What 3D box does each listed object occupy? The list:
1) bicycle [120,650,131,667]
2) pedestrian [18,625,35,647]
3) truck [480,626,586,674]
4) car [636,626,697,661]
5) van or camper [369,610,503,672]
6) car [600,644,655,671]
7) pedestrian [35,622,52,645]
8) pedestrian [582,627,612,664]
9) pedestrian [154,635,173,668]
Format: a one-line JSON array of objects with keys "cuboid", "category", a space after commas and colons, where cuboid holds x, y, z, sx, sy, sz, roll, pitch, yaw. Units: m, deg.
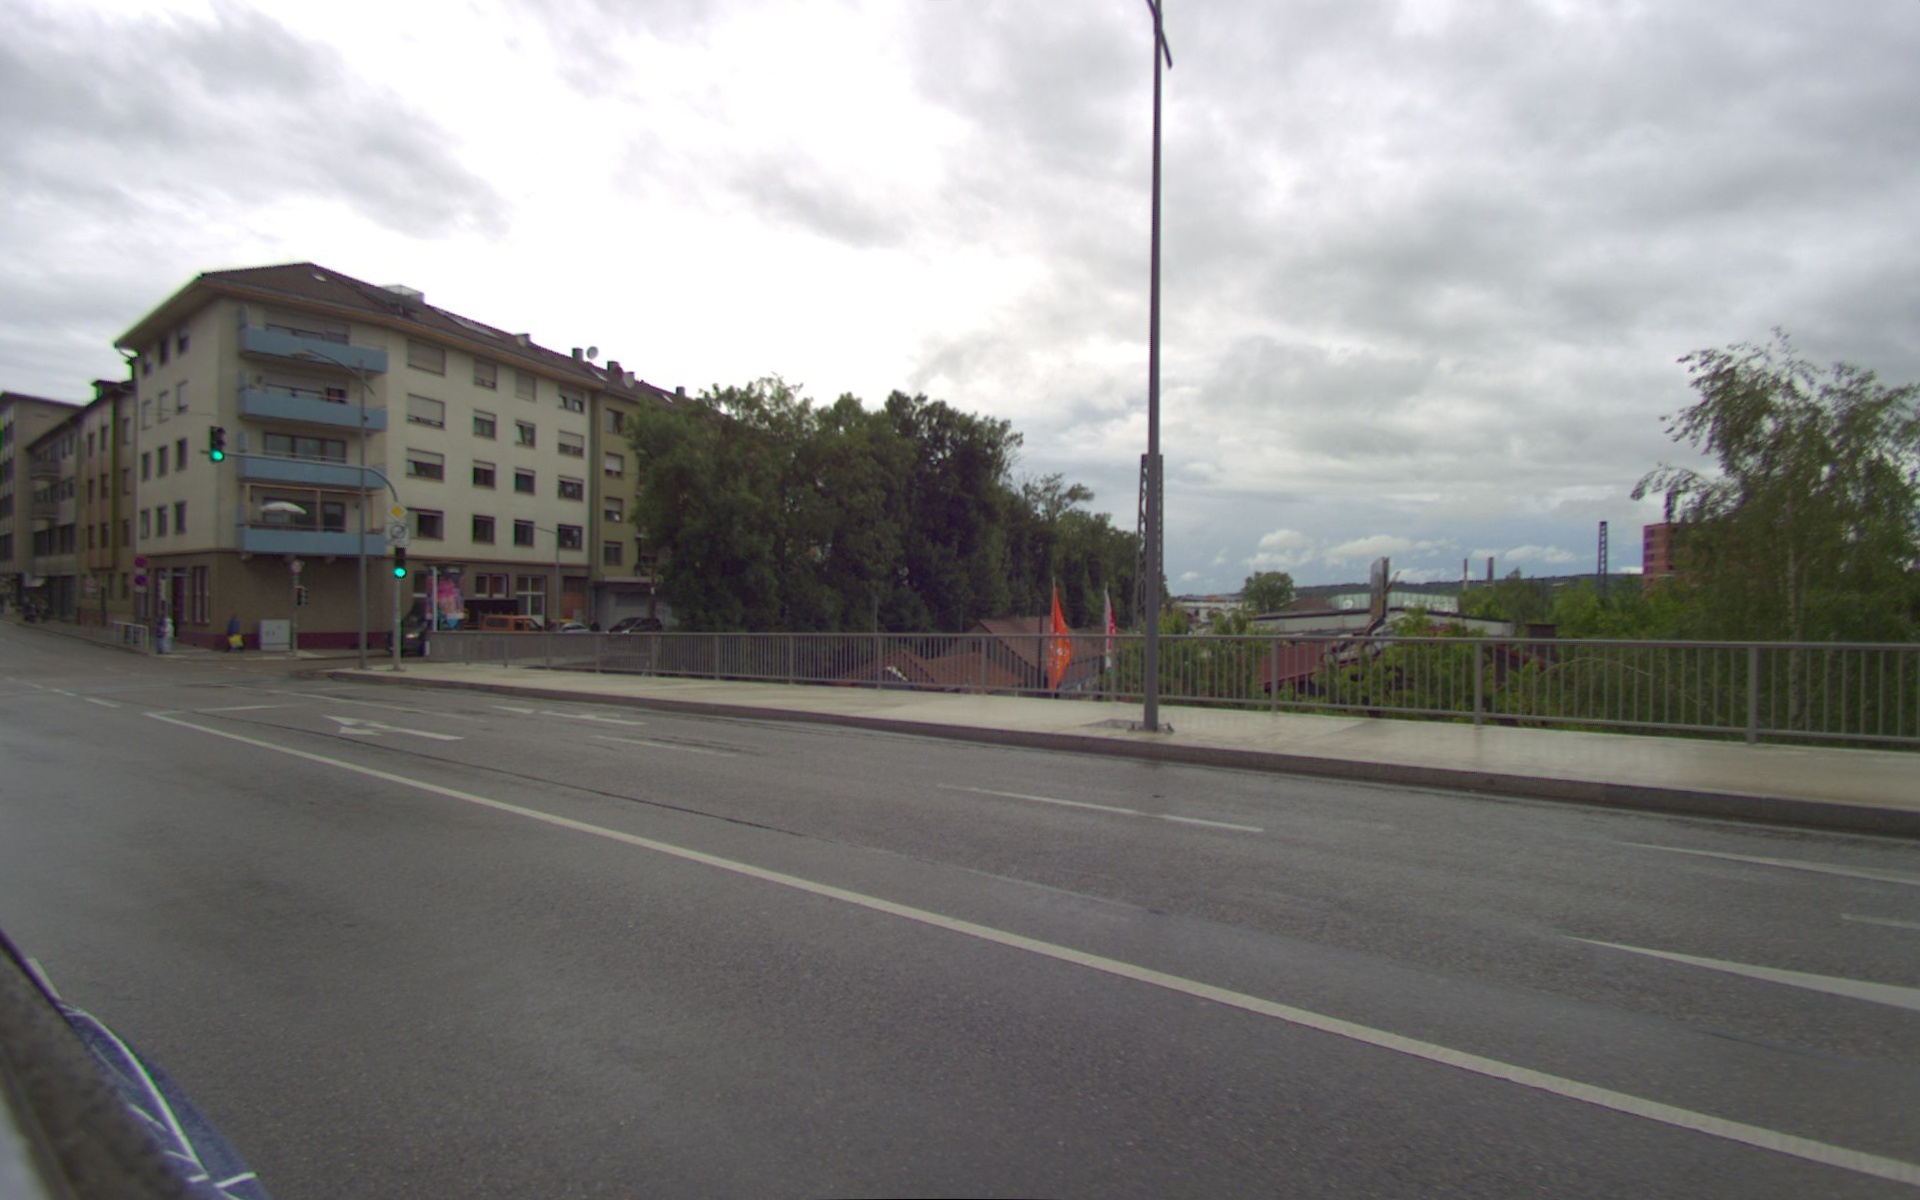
[{"cuboid": [-40.986, 2.884, 49.712, 1.110, 0.789, 0.261, 0, 0, 41], "category": "bicycle"}, {"cuboid": [-65.687, 2.538, 71.192, 0.711, 1.546, 0.791, 0, 0, 41], "category": "pedestrian"}, {"cuboid": [-21.318, 2.456, 50.775, 2.382, 2.145, 5.296, 0, 0, 11], "category": "truck"}, {"cuboid": [-18.616, 2.714, 64.376, 1.982, 2.029, 3.980, 0, 0, 16], "category": "car"}, {"cuboid": [-25.289, 1.900, 49.185, 1.982, 2.751, 6.451, 0, 0, 15], "category": "van or camper"}, {"cuboid": [-21.058, 3.619, 64.279, 1.849, 1.510, 3.693, 0, 0, 9], "category": "car"}, {"cuboid": [-64.839, 2.356, 71.615, 0.711, 1.627, 0.828, 0, 0, 41], "category": "pedestrian"}, {"cuboid": [-17.781, 2.206, 49.627, 1.050, 1.770, 1.070, 0, 0, 7], "category": "pedestrian"}, {"cuboid": [-38.972, 2.523, 49.524, 0.739, 1.565, 0.569, 0, 0, 38], "category": "pedestrian"}]
